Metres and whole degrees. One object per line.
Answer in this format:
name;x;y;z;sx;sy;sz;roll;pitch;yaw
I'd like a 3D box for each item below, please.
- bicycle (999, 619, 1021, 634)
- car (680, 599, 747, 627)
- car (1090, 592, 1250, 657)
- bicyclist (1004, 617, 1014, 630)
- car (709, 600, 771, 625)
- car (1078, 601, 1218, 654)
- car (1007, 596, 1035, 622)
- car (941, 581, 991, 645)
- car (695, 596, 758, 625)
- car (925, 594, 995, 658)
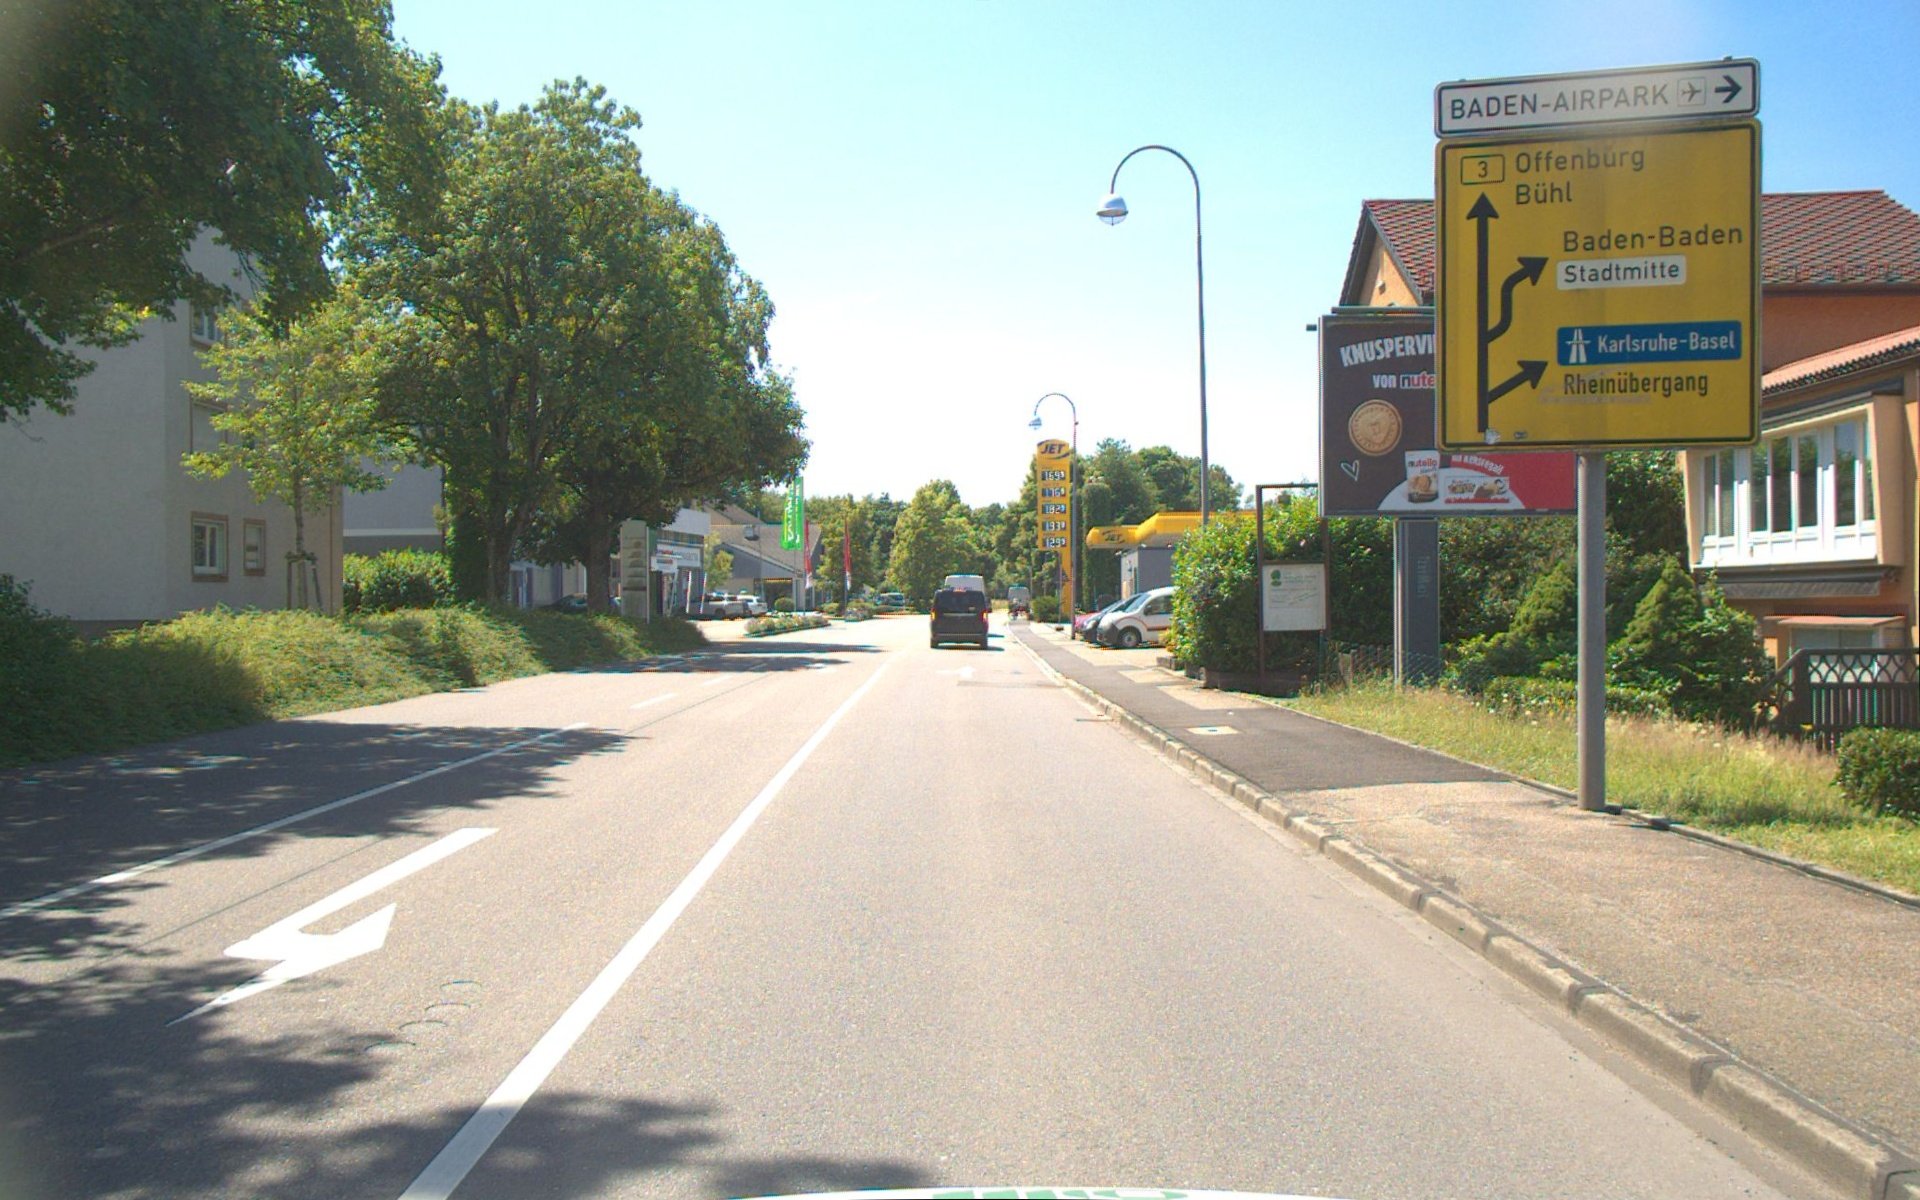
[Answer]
bicycle;3.464;1.821;113.976;0.548;0.902;1.710;2;3;42
car;-16.358;0.838;109.824;3.956;1.735;1.904;1;1;16
car;6.334;0.731;50.155;4.468;1.747;1.998;-2;1;-5
bicyclist;3.370;1.593;113.875;0.548;0.868;0.467;2;3;43
car;-15.632;0.896;117.653;3.902;1.691;2.002;1;0;9
car;5.929;0.843;52.392;4.076;1.482;1.905;-2;1;-5
car;6.214;0.899;168.114;2.302;2.591;4.960;1;1;9
car;0.227;0.535;73.593;2.077;2.724;5.661;1;1;-1
car;-16.121;0.717;114.221;3.902;1.864;1.948;1;0;11
car;-0.055;0.804;53.333;1.954;1.926;3.997;1;1;-4
